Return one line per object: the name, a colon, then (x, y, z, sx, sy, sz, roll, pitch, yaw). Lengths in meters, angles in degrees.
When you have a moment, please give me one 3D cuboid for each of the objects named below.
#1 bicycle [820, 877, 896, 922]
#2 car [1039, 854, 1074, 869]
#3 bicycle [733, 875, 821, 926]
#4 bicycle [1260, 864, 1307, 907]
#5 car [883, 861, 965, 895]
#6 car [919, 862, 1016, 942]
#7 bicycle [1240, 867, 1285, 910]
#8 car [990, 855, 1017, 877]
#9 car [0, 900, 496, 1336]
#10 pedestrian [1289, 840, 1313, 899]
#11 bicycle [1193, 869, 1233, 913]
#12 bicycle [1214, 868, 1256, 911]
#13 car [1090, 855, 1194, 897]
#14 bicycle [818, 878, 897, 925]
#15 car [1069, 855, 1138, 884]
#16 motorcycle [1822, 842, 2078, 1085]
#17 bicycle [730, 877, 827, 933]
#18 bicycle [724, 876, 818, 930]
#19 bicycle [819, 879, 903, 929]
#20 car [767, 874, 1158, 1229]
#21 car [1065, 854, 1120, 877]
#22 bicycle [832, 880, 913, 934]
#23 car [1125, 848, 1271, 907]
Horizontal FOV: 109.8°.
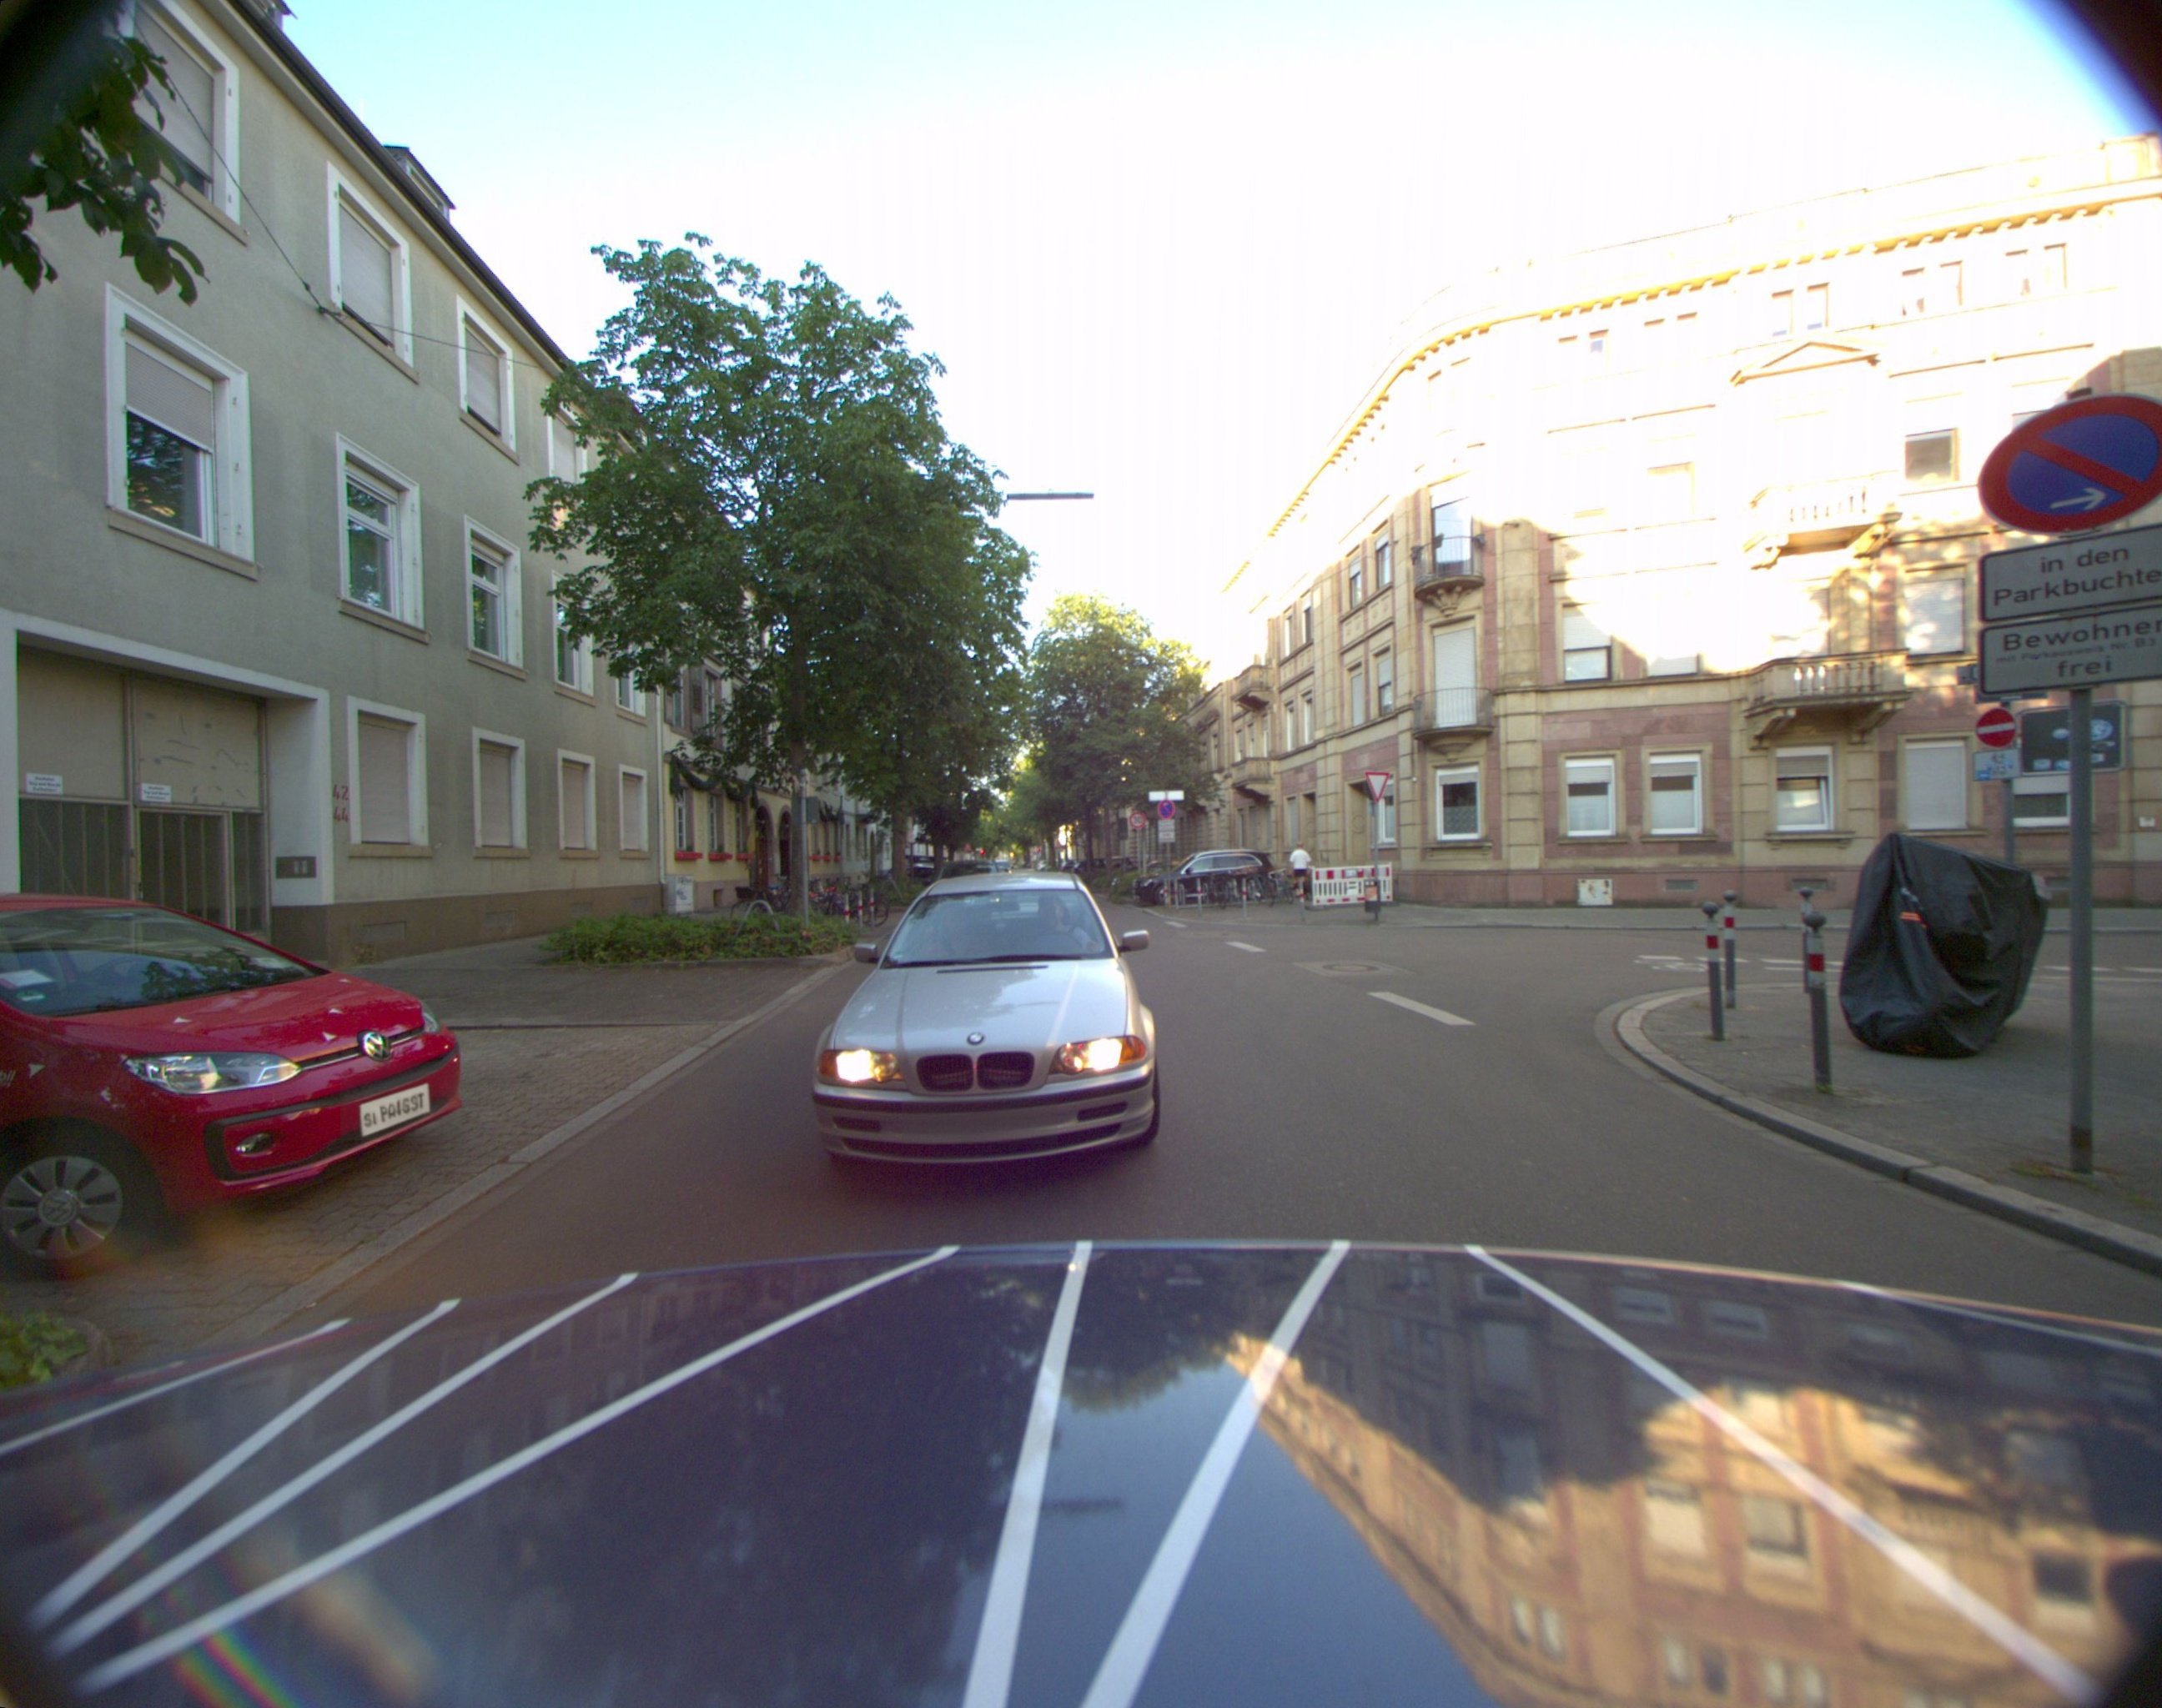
bicycle: (-6.373, 1.286, 21.798, 2.029, 1.220, 0.535, -1, 0, -11)
car: (-3.013, 0.940, 92.544, 4.245, 1.749, 1.741, -1, 0, -4)
bicycle: (-7.819, 1.180, 19.607, 2.029, 1.220, 0.535, -1, 0, -13)
bicycle: (5.790, 0.881, 21.826, 0.562, 1.144, 2.038, -1, 0, -8)
car: (-8.556, 1.279, 41.679, 4.245, 1.729, 1.741, -1, 0, -6)
car: (-2.457, 0.981, 17.333, 1.806, 1.543, 3.998, -1, 0, -4)
bicycle: (5.172, 0.961, 21.777, 0.562, 1.144, 2.038, -1, 0, -8)
car: (-5.771, 0.886, 56.776, 1.806, 1.543, 3.998, -1, 0, -4)
car: (-5.173, 1.039, 3.440, 3.621, 1.468, 1.663, -1, 0, -7)
pedestrian: (6.766, 0.466, 23.355, 0.572, 1.797, 0.651, -1, 1, 6)
bicycle: (3.740, 1.027, 21.667, 0.562, 1.144, 2.038, -1, 0, -6)
bicycle: (4.378, 0.983, 21.735, 0.562, 1.144, 2.038, -1, 0, -6)
car: (2.527, 0.898, 32.095, 4.243, 1.668, 1.742, -1, 0, -1)
bicycle: (-6.132, 1.286, 20.928, 2.029, 1.220, 0.535, -1, 0, -11)
car: (1.410, 0.965, 48.388, 4.245, 1.749, 1.741, -1, 0, -4)
motorcycle: (6.489, 0.676, 5.644, 2.286, 1.496, 0.816, -1, 1, -30)
bicycle: (-7.039, 1.171, 17.758, 2.030, 1.220, 0.535, -1, 0, -16)
bicycle: (-7.499, 1.181, 18.461, 2.030, 1.220, 0.535, -1, 0, -16)
bicycle: (-5.665, 1.282, 19.647, 2.029, 1.220, 0.535, -1, 0, -11)
car: (-0.497, 0.939, 5.601, 1.711, 1.433, 4.436, -1, 0, 1)
car: (0.866, 0.877, 60.859, 4.245, 1.749, 1.741, -1, 0, -4)
bicycle: (-5.042, 1.256, 18.407, 1.849, 1.220, 0.535, -1, 0, -16)
car: (3.721, 0.743, 24.670, 4.423, 1.771, 1.741, -1, 0, -2)
